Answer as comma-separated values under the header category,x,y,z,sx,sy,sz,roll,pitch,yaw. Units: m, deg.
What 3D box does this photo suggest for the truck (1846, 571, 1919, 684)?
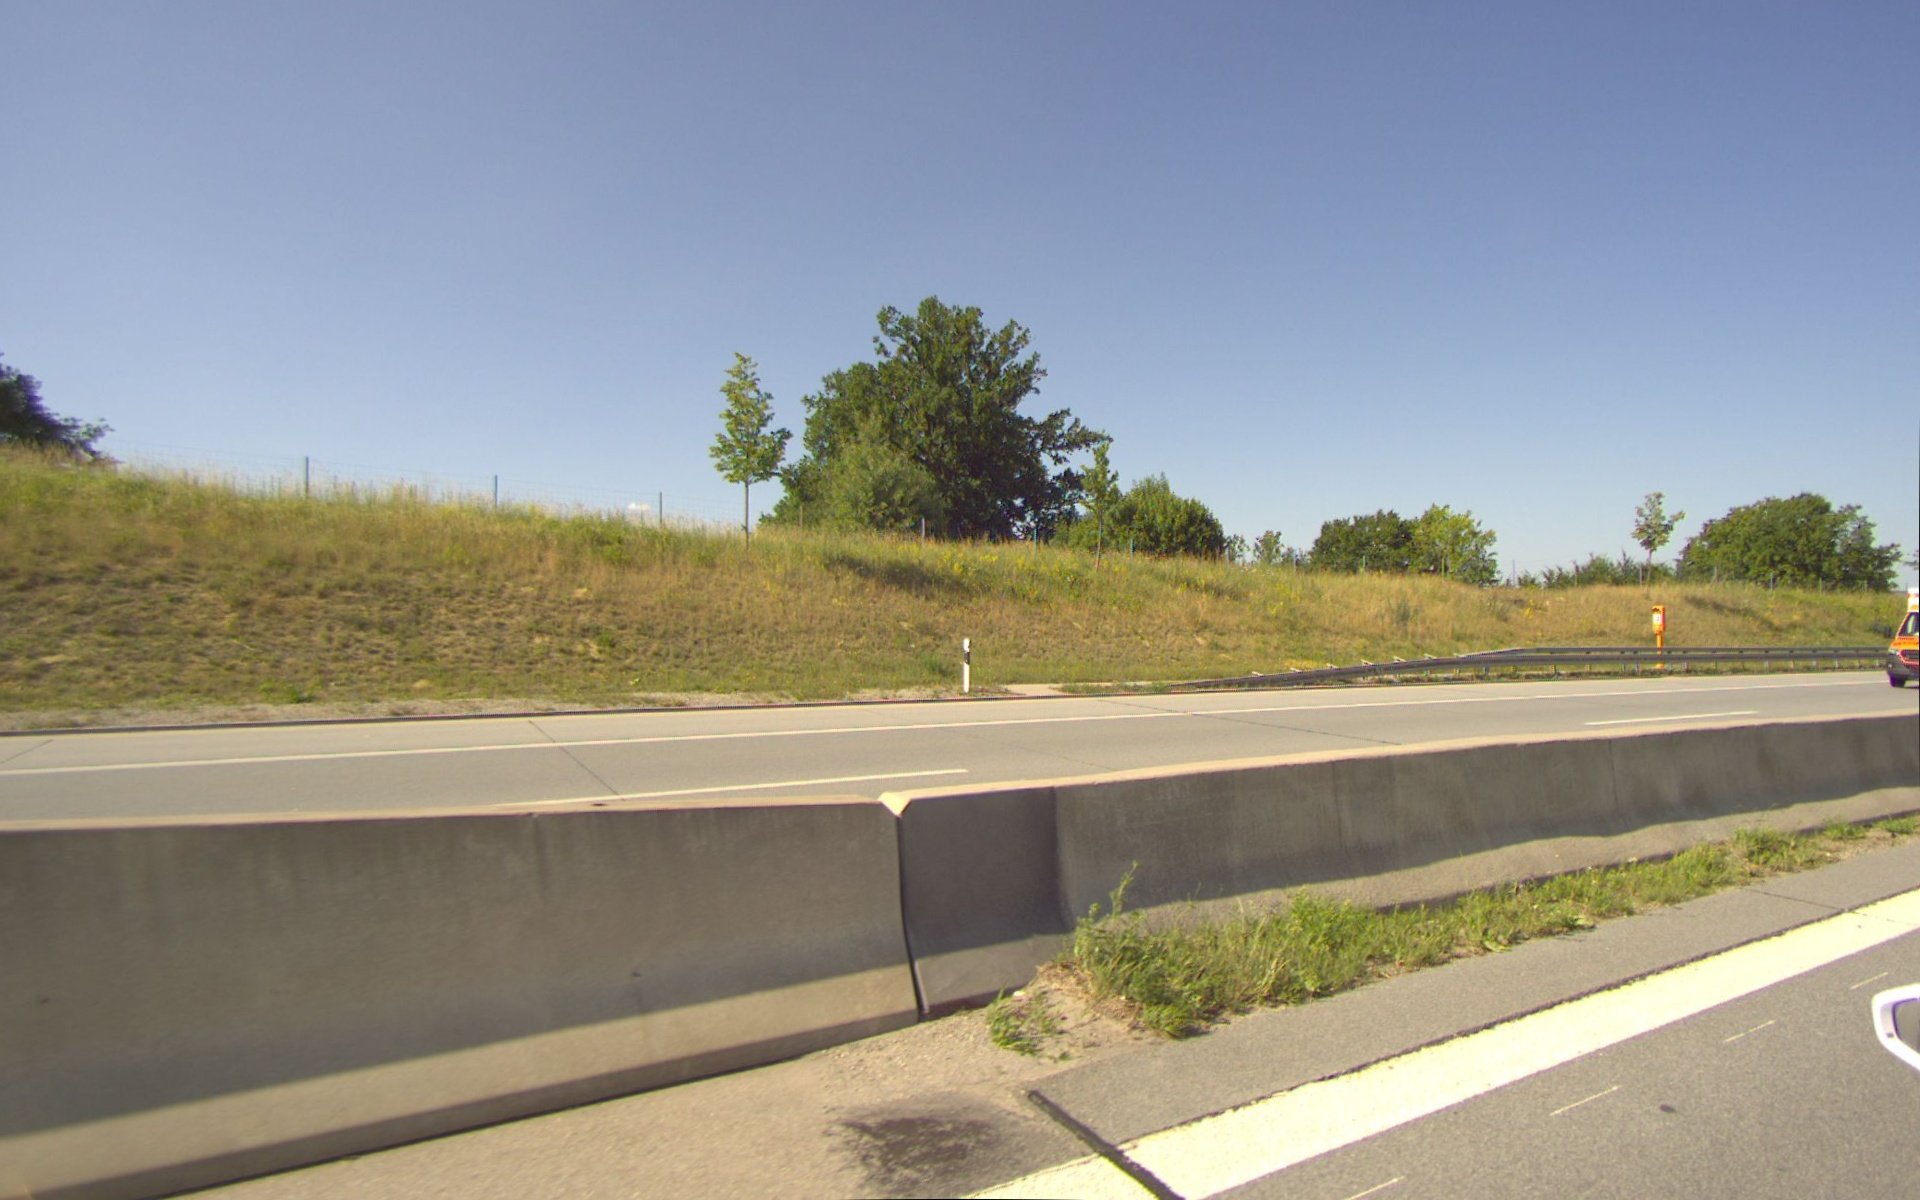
category,x,y,z,sx,sy,sz,roll,pitch,yaw
truck,28.690,0.807,28.973,6.713,3.062,2.761,1,-1,-31
